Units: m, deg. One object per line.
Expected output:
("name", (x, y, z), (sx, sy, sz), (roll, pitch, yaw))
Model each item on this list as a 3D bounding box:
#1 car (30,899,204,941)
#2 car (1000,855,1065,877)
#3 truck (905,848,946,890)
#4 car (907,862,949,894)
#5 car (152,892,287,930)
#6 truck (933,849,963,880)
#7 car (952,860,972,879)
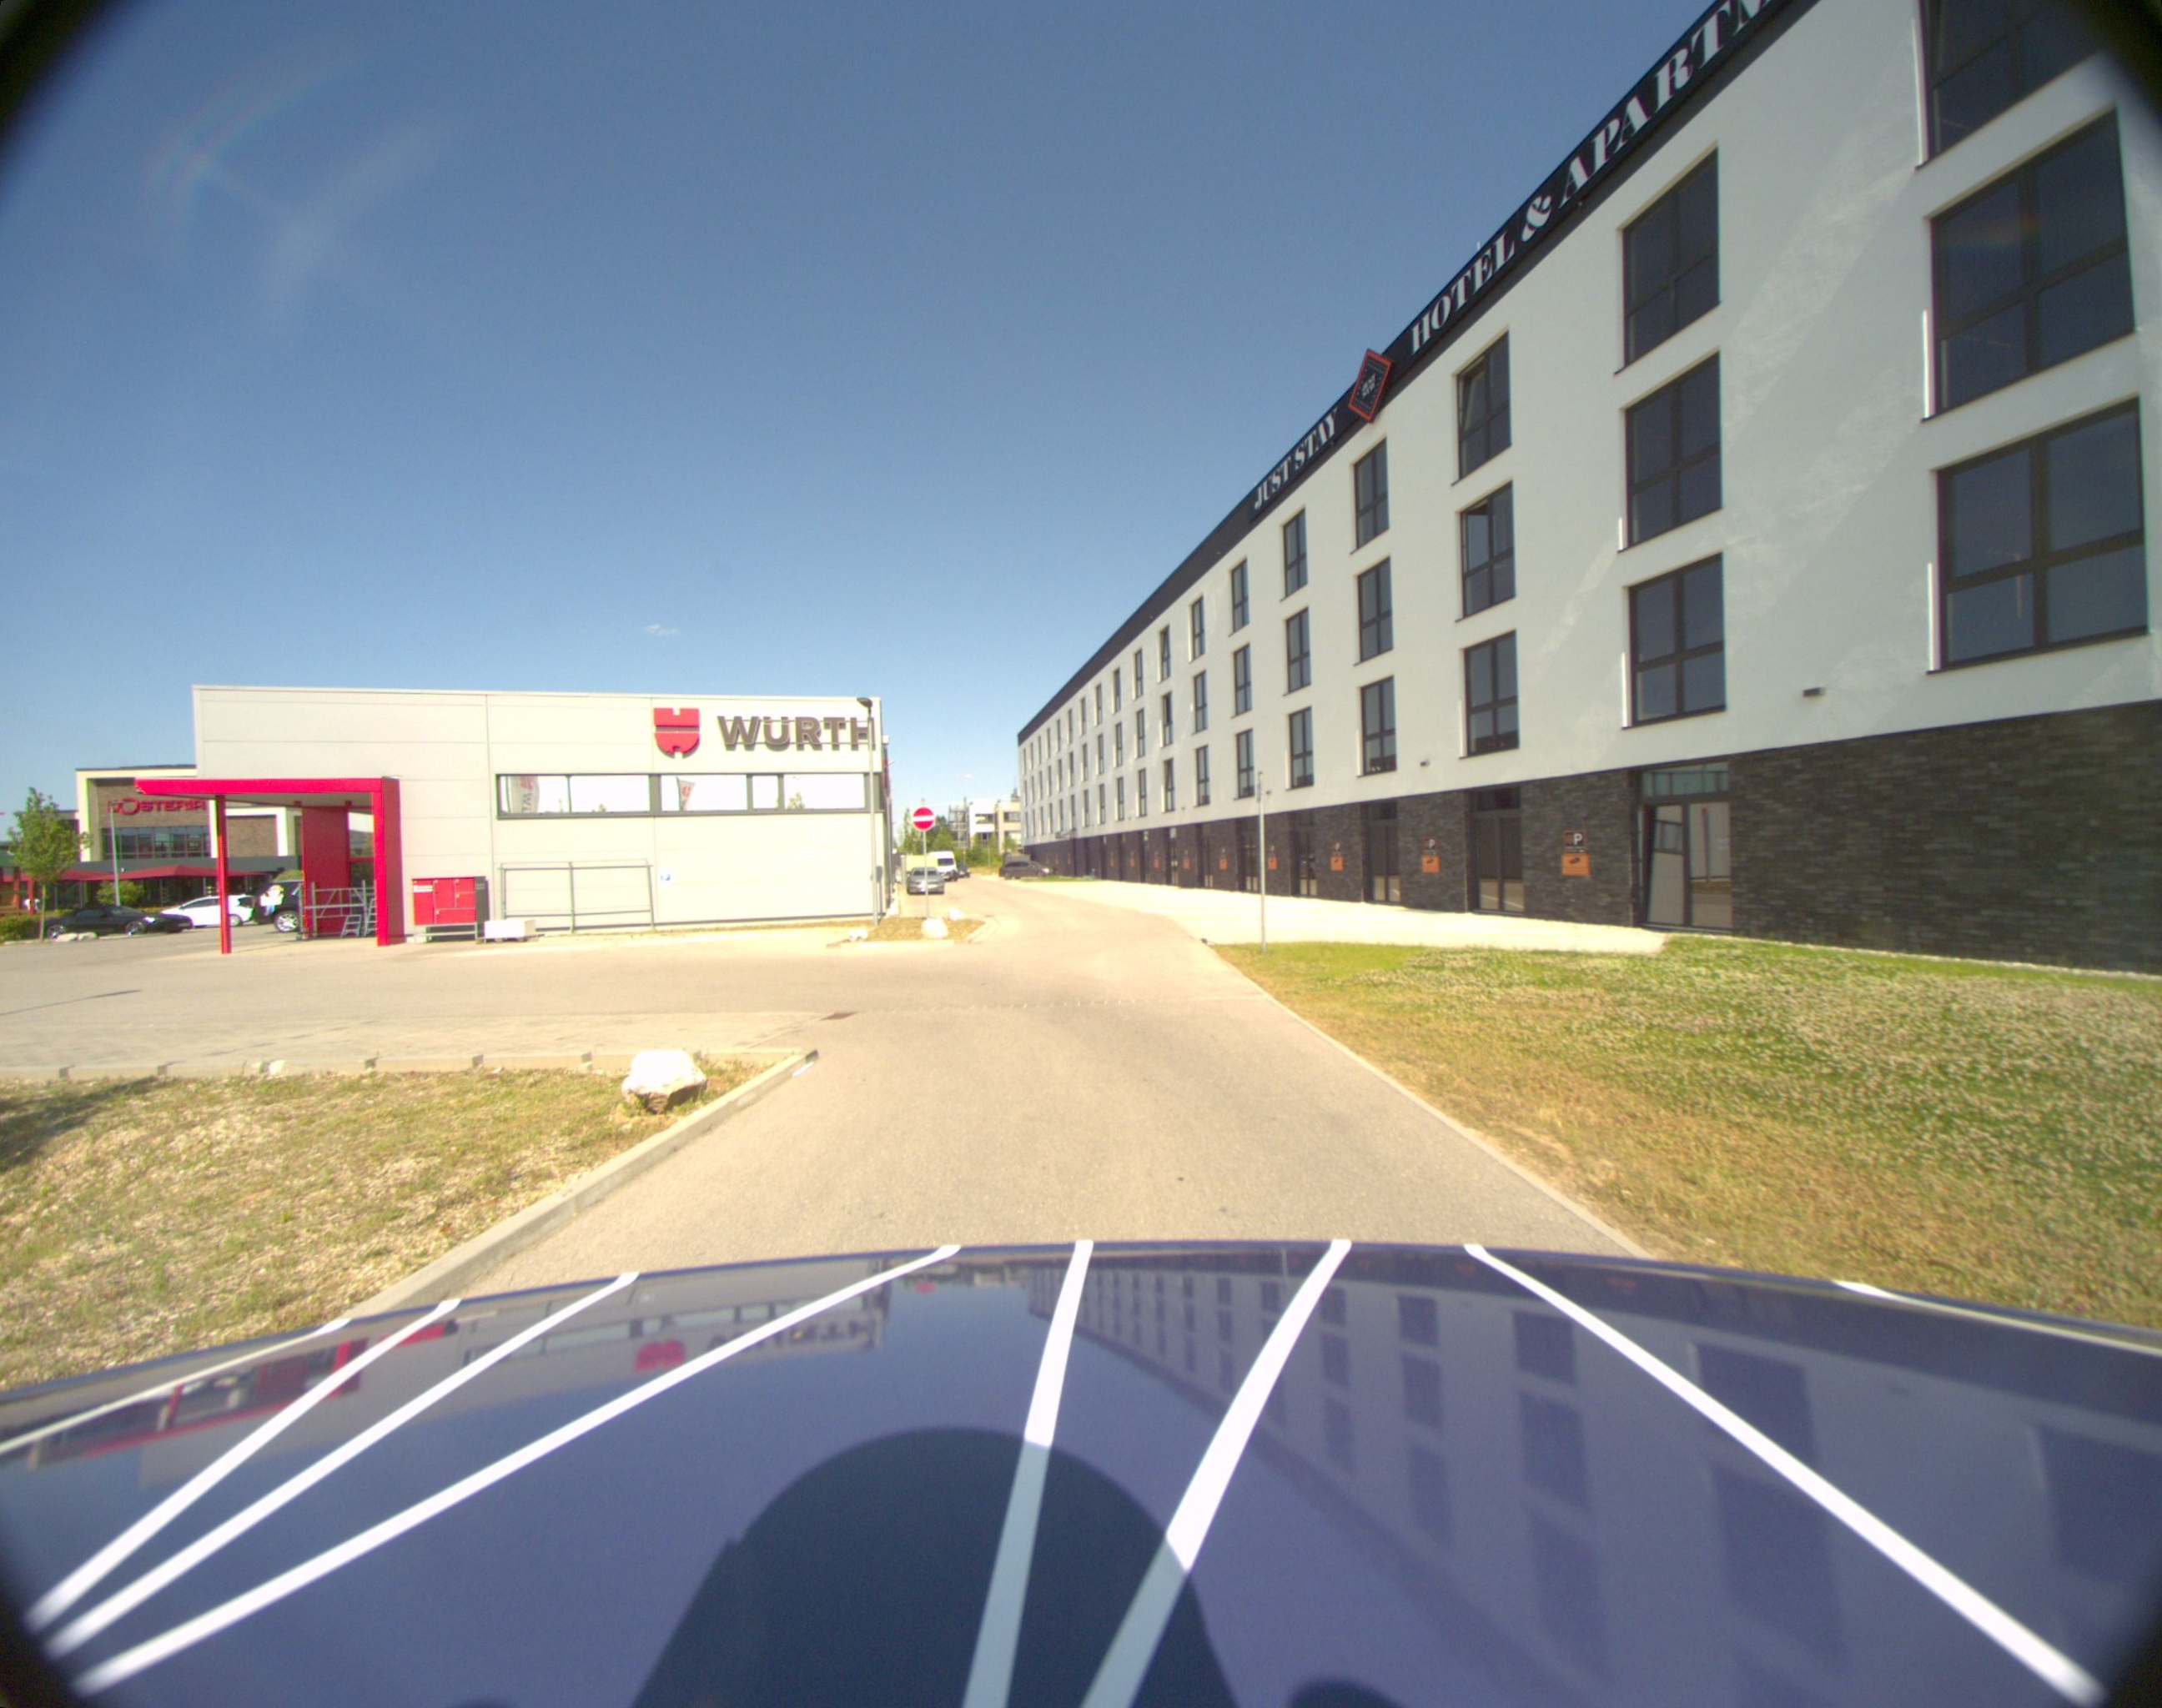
("car", (-39.812, 2.689, 31.515), (4.156, 1.330, 1.828), (-3, 0, -15))
("car", (-3.726, 0.941, 58.388), (4.515, 1.499, 1.882), (-2, 0, 22))
("truck", (-9.701, 0.907, 47.049), (2.124, 2.362, 5.883), (-3, 0, -14))
("car", (-8.222, 1.248, 40.549), (1.880, 1.499, 3.995), (-3, 0, -16))
("car", (-40.972, 2.690, 36.231), (3.914, 1.466, 1.802), (-2, 0, -10))
("truck", (-11.041, 0.874, 62.816), (2.001, 2.362, 5.883), (-3, 0, -14))
("car", (-11.258, 1.415, 71.845), (1.719, 1.609, 3.996), (-3, 1, -10))
